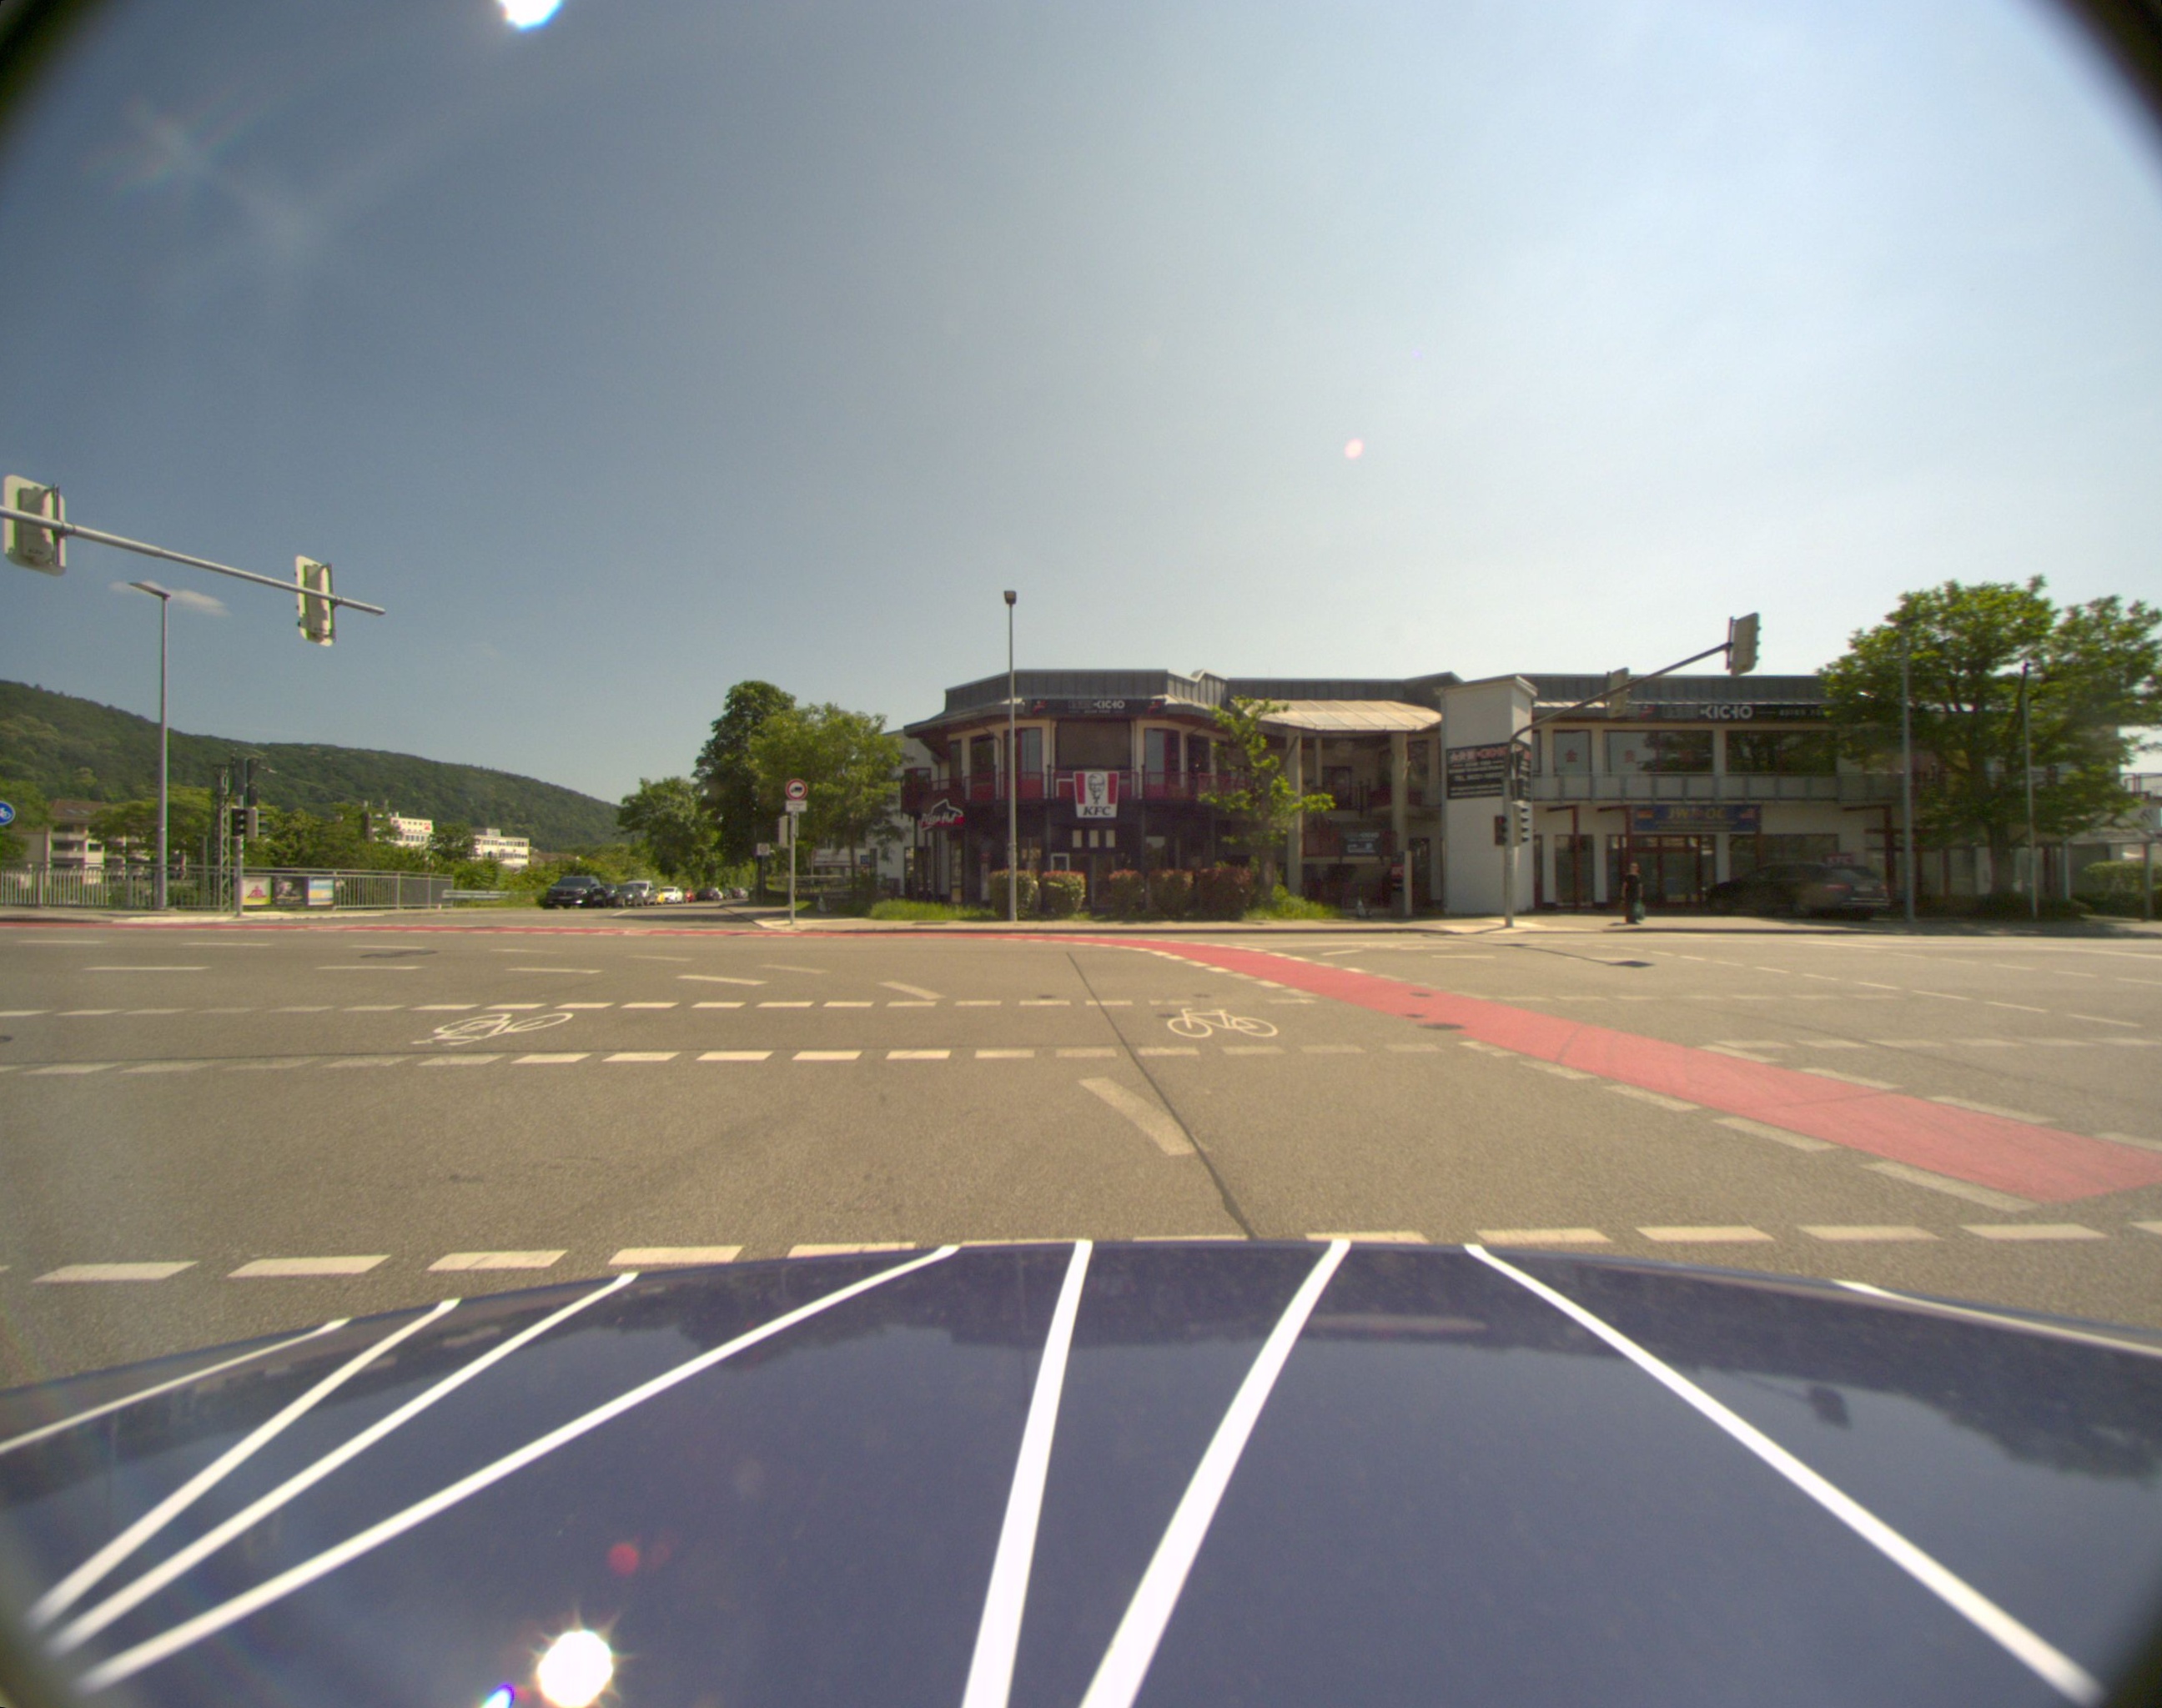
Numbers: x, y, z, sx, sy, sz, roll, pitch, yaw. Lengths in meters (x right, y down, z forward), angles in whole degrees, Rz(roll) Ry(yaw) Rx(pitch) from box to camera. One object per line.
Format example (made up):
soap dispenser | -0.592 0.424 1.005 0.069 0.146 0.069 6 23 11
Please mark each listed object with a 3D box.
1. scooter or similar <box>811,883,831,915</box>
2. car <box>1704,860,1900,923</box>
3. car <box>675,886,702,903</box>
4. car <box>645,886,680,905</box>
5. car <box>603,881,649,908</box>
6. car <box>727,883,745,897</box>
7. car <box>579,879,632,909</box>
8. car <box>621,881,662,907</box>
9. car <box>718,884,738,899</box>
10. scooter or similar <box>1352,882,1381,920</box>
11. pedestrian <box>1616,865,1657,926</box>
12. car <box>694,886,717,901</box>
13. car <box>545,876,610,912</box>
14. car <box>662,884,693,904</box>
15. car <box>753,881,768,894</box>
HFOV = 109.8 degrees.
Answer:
scooter or similar | -9.304 1.597 27.220 0.427 1.116 1.450 0 -1 -8
car | 22.986 1.130 24.535 1.808 1.844 4.659 0 -1 -2
car | -36.156 3.698 70.098 1.675 1.427 3.994 0 -1 -19
car | -31.379 3.082 57.030 1.675 1.309 3.994 0 -1 -19
car | -28.077 2.488 47.018 1.675 1.523 3.994 0 -1 -19
car | -43.973 4.557 96.902 1.674 1.524 3.994 -4 1 -19
car | -26.381 2.168 42.278 1.675 1.523 3.994 0 -1 -19
car | -30.006 2.701 51.976 1.675 1.625 3.994 0 -1 -19
car | -42.118 4.424 90.743 1.674 1.524 3.994 -4 1 -19
scooter or similar | 8.947 1.470 23.872 0.500 1.116 1.505 0 -1 6
pedestrian | 15.457 1.135 21.172 0.732 1.635 0.843 0 0 21
car | -39.658 4.116 80.331 1.675 1.427 3.994 0 -1 -19
car | -24.768 1.942 37.543 1.833 1.617 4.229 0 -1 -21
car | -33.720 3.316 63.628 1.675 1.523 3.994 0 -1 -19
car | -47.860 4.984 113.620 1.674 1.719 3.994 -4 1 -19
